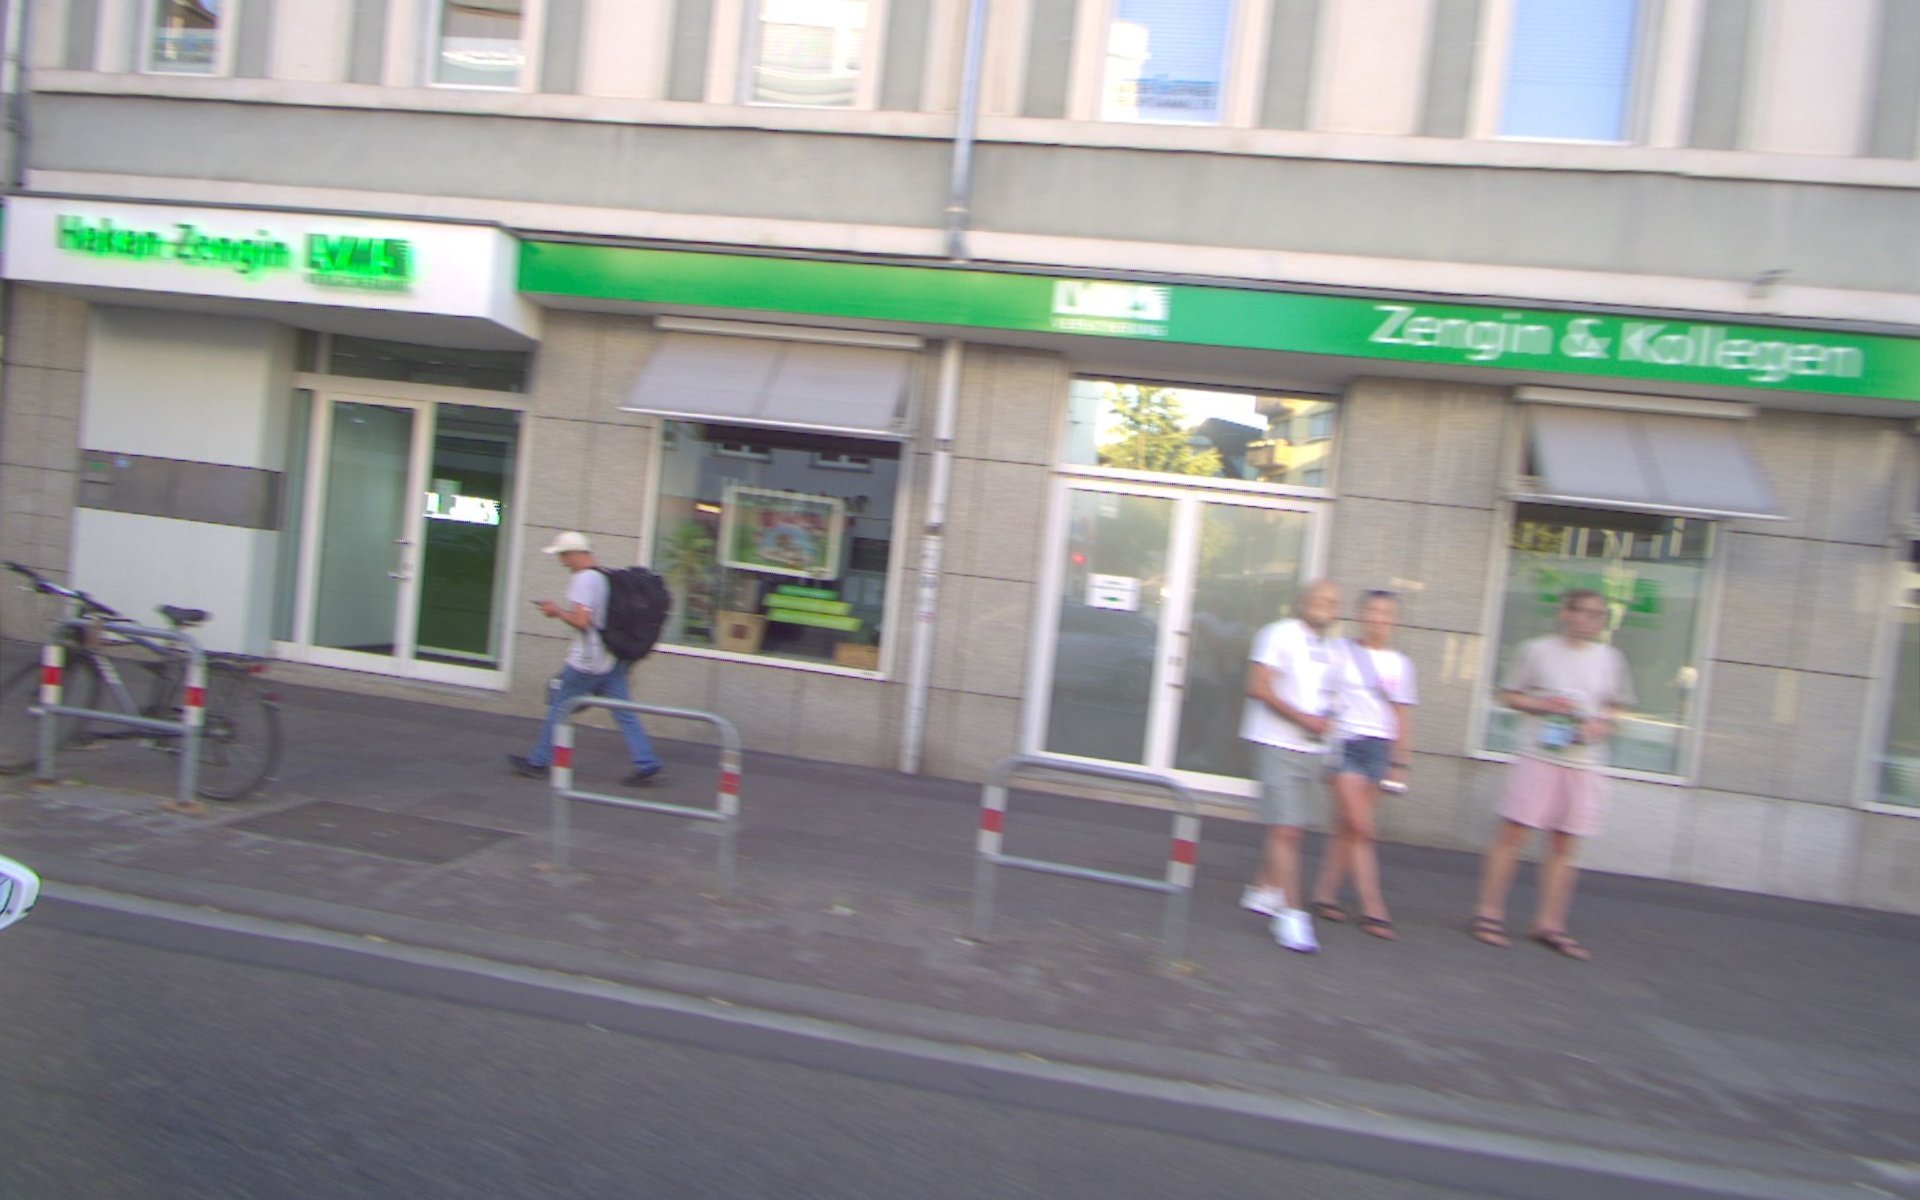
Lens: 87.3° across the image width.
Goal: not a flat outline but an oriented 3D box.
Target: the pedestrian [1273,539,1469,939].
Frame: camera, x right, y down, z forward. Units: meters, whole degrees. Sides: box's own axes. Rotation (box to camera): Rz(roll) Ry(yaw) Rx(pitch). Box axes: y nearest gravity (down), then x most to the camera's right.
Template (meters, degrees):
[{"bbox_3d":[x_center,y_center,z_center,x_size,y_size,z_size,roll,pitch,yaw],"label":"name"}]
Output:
[{"bbox_3d":[2.137,0.692,5.312,0.520,1.954,0.639,6,2,-3],"label":"pedestrian"}]

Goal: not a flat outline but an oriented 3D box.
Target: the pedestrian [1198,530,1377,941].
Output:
[{"bbox_3d":[1.646,0.659,5.138,0.487,1.954,0.575,6,2,-2],"label":"pedestrian"}]

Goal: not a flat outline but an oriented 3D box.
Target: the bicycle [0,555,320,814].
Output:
[{"bbox_3d":[-4.250,0.401,5.174,1.616,1.105,0.478,6,4,5],"label":"bicycle"}]

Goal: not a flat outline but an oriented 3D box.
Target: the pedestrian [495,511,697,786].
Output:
[{"bbox_3d":[-2.302,0.287,6.428,0.853,1.569,0.699,6,2,10],"label":"pedestrian"}]

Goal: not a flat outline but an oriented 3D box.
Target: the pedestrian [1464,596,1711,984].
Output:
[{"bbox_3d":[3.132,0.902,5.106,0.686,1.768,0.640,6,2,10],"label":"pedestrian"}]
